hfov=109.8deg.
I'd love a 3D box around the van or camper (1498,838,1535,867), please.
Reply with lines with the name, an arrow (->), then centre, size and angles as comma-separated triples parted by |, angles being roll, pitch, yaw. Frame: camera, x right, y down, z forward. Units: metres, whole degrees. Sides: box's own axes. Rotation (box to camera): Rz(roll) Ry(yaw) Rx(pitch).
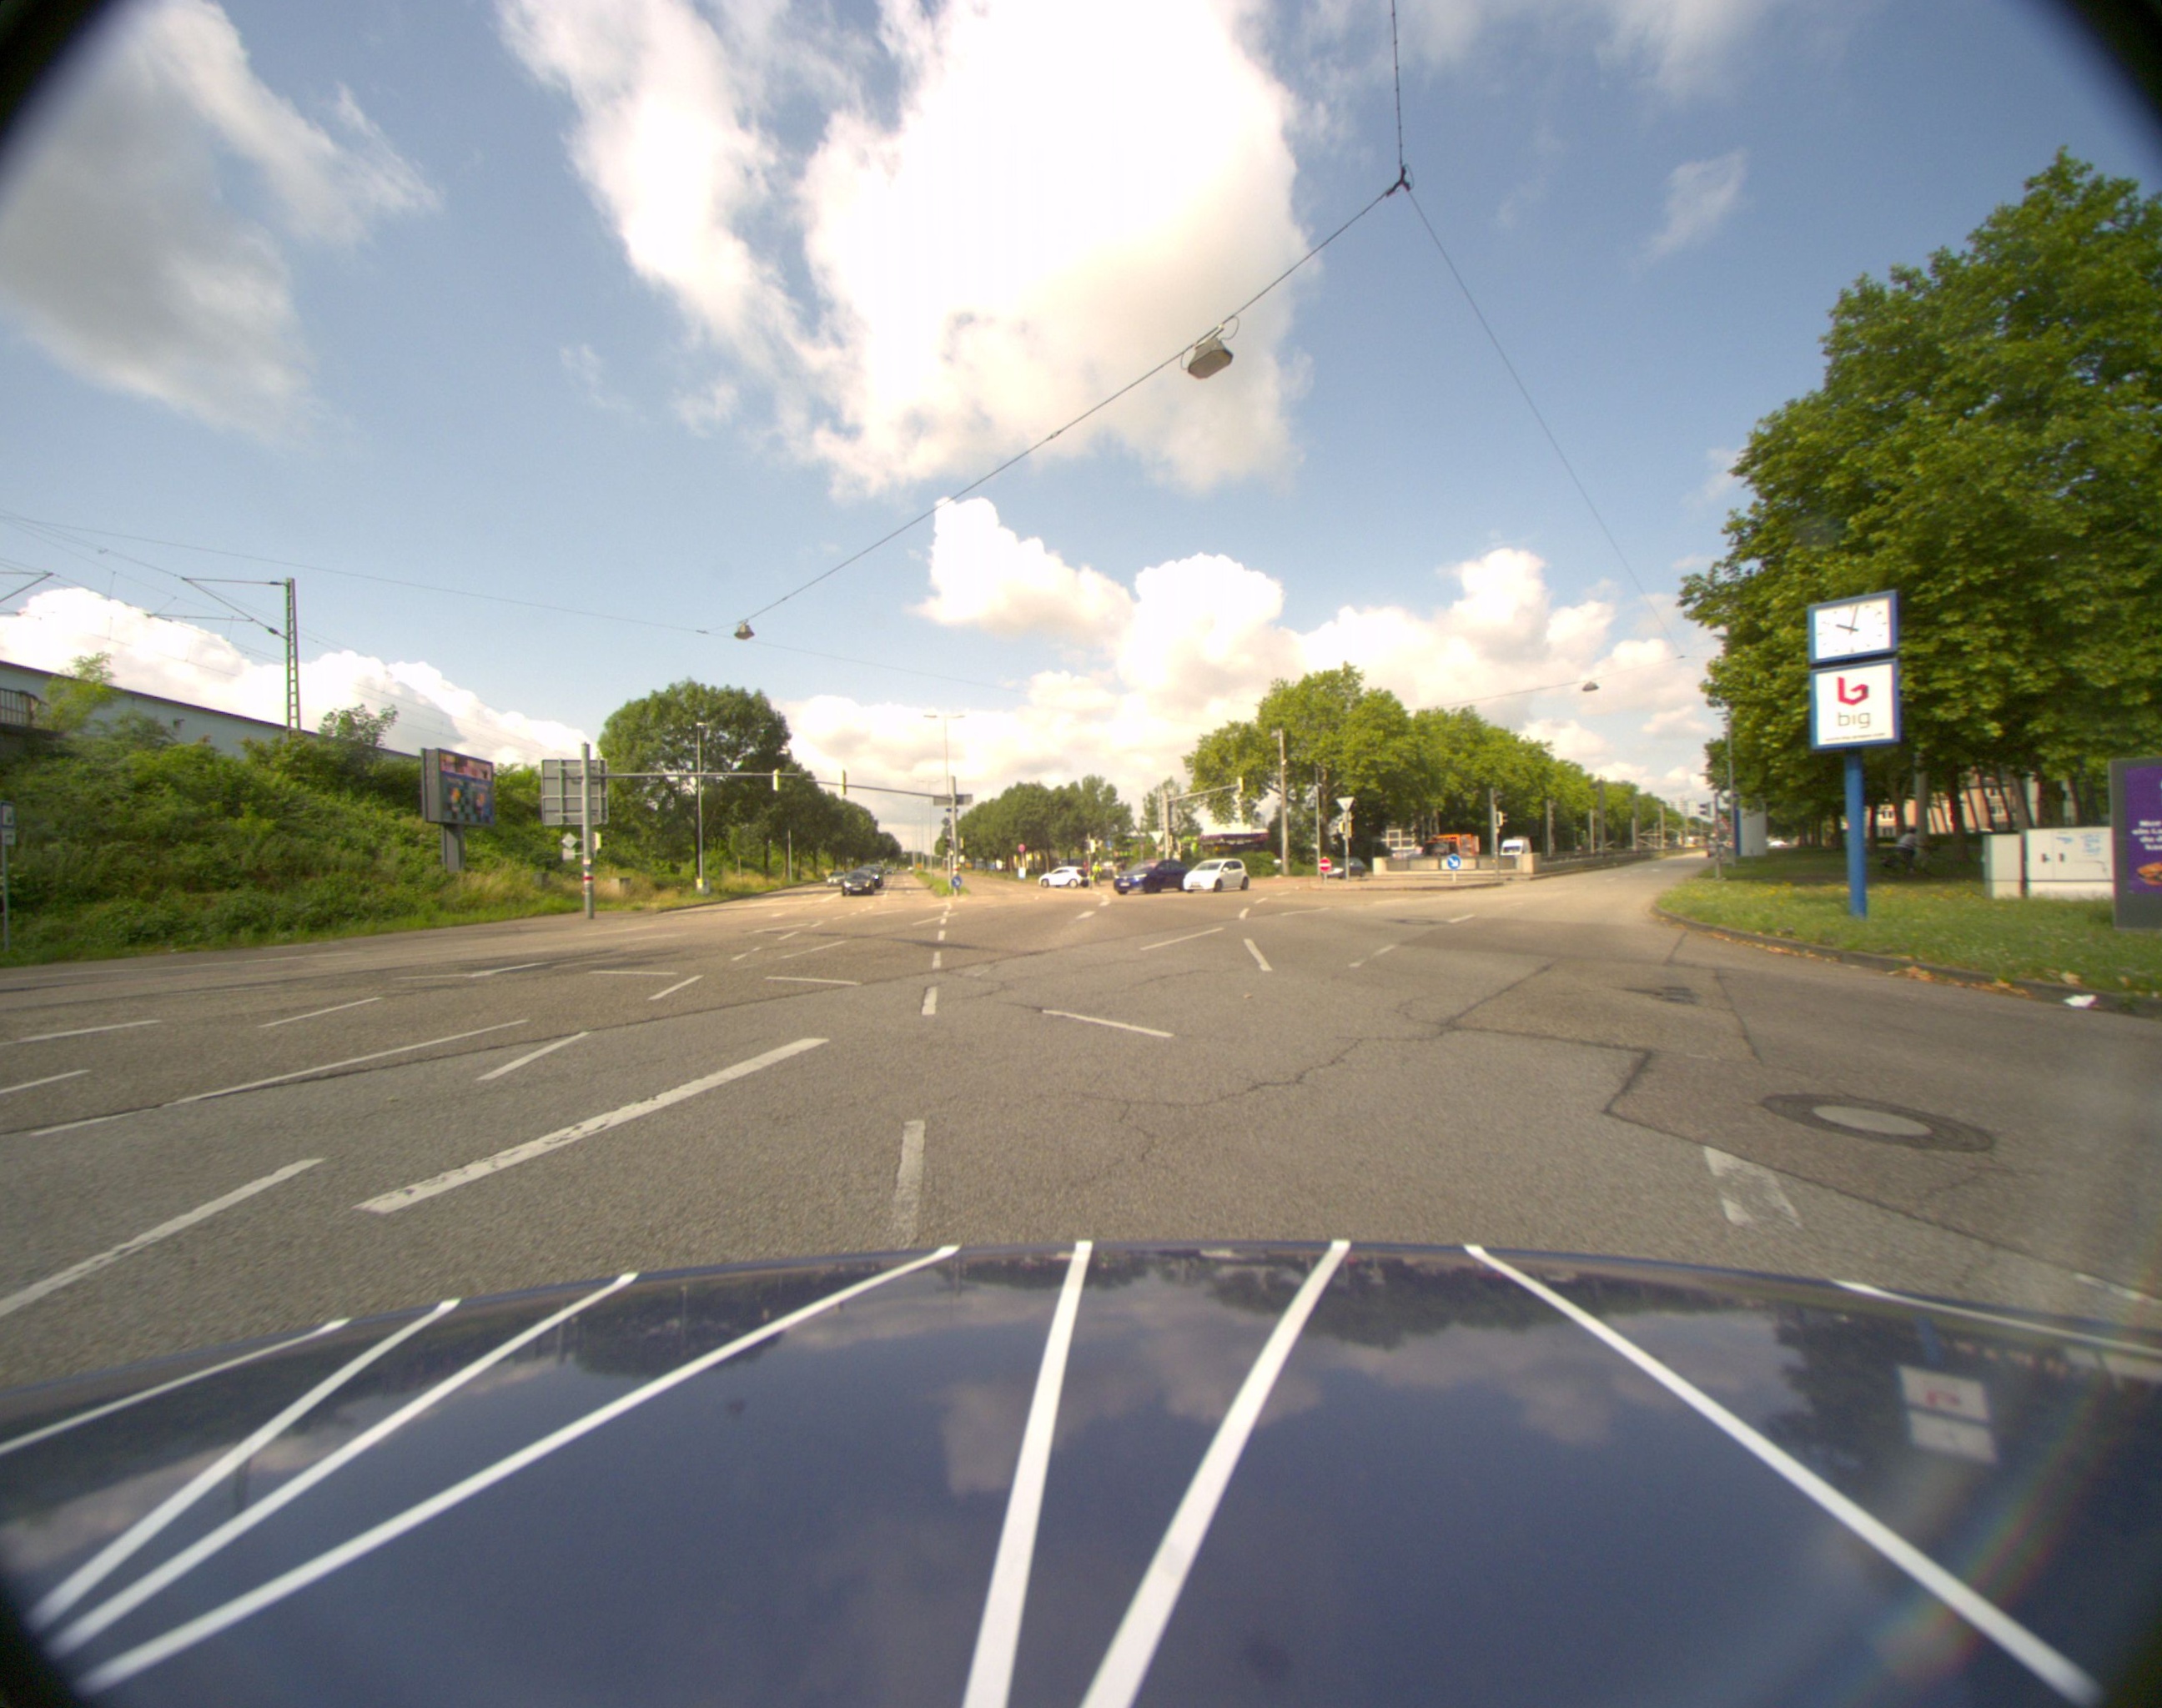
van or camper -> 45.805, -0.212, 79.787 | 2.158, 2.771, 5.977 | 4, 5, 40

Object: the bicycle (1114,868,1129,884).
bicycle -> 3.244, 1.776, 61.438 | 0.792, 1.189, 2.231 | -1, 0, -8

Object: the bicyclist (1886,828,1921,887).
bicyclist -> 28.669, 0.109, 26.480 | 0.729, 2.002, 0.604 | -2, 3, 40

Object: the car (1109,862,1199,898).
car -> 3.571, 1.260, 36.536 | 1.888, 1.565, 4.591 | -4, -4, 42

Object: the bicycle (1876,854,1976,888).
bicycle -> 29.077, 0.575, 26.207 | 2.175, 1.080, 0.888 | -1, 2, 35

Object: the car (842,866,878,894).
car -> -13.084, 1.514, 45.190 | 1.742, 1.510, 3.825 | -1, 0, -11

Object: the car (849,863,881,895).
car -> -14.549, 1.633, 51.221 | 1.978, 1.740, 4.016 | 0, 4, -15

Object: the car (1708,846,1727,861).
car -> 69.939, -0.071, 83.504 | 1.417, 1.448, 3.163 | 6, 6, 41

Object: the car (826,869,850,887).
car -> -21.234, 2.074, 66.538 | 1.718, 1.477, 3.995 | 0, 0, -13

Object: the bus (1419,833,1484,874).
bus -> 35.783, -0.199, 73.120 | 2.737, 3.447, 10.414 | 3, 5, 41

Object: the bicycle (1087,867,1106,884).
bicycle -> 1.245, 1.666, 60.399 | 0.678, 1.190, 2.228 | -5, 3, -20

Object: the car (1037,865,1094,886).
car -> -1.117, 1.553, 55.437 | 3.788, 1.470, 1.755 | -1, -3, 33

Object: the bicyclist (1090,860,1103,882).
bicyclist -> 1.227, 1.357, 60.390 | 0.678, 1.670, 0.835 | -5, 3, -21

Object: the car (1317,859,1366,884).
car -> 18.177, 1.205, 52.974 | 1.767, 1.456, 4.007 | -1, 2, 42

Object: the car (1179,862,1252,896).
car -> 6.201, 1.143, 34.865 | 1.733, 1.477, 3.610 | -1, -2, 40

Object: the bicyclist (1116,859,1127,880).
bicyclist -> 3.265, 1.221, 60.994 | 0.678, 1.676, 0.754 | -1, 0, -8
